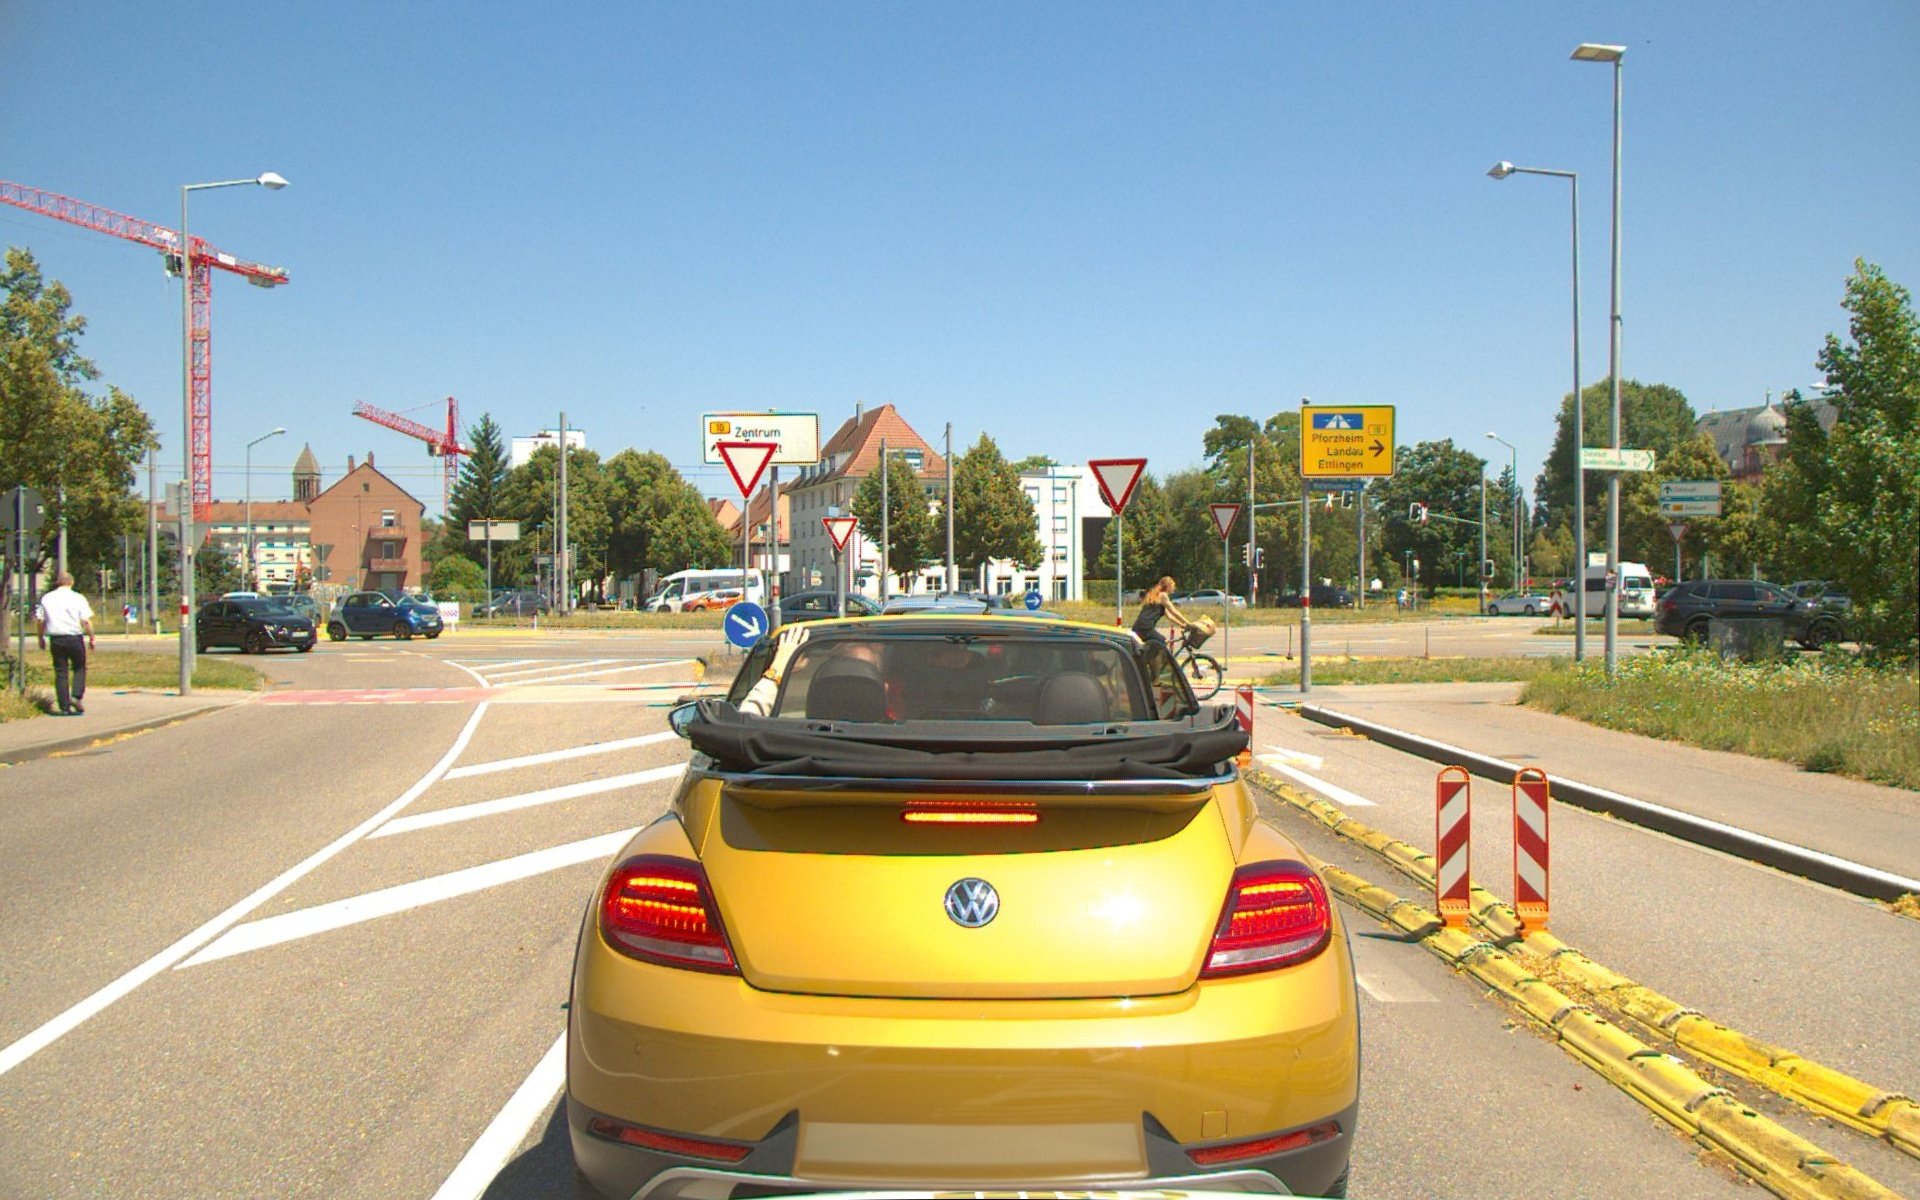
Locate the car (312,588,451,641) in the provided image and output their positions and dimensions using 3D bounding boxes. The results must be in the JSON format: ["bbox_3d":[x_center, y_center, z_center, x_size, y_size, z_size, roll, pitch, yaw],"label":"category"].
[{"bbox_3d":[-18.257,0.453,52.204,3.904,1.579,1.728,1,0,19],"label":"car"}]

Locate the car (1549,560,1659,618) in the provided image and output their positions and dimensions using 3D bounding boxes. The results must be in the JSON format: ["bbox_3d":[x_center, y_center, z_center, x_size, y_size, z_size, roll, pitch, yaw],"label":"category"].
[{"bbox_3d":[28.493,-0.459,73.366,1.953,2.439,5.312,1,0,-12],"label":"car"}]

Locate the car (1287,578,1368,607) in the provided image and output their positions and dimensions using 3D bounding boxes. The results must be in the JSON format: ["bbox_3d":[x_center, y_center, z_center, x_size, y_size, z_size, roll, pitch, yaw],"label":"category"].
[{"bbox_3d":[21.562,-0.456,97.109,4.245,1.642,1.874,1,0,37],"label":"car"}]

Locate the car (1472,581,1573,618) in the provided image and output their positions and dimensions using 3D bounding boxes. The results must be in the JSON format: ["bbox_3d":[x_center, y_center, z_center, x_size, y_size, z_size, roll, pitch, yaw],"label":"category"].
[{"bbox_3d":[31.217,-0.049,91.958,1.969,1.996,5.268,1,0,-32],"label":"car"}]

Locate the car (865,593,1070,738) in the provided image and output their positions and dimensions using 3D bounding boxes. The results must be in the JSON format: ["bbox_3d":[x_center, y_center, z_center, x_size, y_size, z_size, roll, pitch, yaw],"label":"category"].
[{"bbox_3d":[0.044,0.661,18.583,2.023,1.406,4.257,1,0,-1],"label":"car"}]

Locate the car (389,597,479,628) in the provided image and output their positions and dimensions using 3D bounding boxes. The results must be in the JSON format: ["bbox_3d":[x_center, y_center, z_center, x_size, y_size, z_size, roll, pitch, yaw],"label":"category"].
[{"bbox_3d":[-25.433,0.629,80.093,1.693,1.427,4.267,1,0,26],"label":"car"}]

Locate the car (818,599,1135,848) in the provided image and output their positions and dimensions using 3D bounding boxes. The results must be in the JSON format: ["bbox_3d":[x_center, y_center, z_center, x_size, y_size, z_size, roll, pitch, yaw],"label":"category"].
[{"bbox_3d":[0.066,0.710,11.675,1.814,1.389,4.257,-1,0,-1],"label":"car"}]

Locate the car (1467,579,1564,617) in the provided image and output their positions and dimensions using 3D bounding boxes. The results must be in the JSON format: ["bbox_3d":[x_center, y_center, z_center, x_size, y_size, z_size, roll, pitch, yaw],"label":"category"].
[{"bbox_3d":[30.958,-0.113,92.272,1.964,1.996,5.282,1,0,-27],"label":"car"}]

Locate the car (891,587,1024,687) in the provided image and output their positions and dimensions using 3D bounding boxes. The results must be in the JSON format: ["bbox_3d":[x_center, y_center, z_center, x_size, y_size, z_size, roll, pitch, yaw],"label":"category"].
[{"bbox_3d":[-0.067,0.553,27.627,2.023,1.506,4.542,-1,0,-1],"label":"car"}]

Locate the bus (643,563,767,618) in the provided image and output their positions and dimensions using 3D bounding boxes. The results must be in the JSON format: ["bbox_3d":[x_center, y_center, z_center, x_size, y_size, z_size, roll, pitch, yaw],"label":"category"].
[{"bbox_3d":[-15.503,-0.552,100.708,7.158,3.228,2.244,1,-1,-25],"label":"bus"}]

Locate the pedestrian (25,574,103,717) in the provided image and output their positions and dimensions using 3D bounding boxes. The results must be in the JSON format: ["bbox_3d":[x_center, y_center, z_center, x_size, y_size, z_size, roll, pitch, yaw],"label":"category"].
[{"bbox_3d":[-11.678,0.587,21.586,0.625,1.817,0.966,1,-1,-14],"label":"pedestrian"}]

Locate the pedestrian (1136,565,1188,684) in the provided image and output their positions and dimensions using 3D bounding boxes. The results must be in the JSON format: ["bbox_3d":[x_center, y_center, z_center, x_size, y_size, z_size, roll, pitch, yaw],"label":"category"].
[{"bbox_3d":[2.979,0.360,24.365,0.717,1.721,0.575,1,-1,9],"label":"pedestrian"}]

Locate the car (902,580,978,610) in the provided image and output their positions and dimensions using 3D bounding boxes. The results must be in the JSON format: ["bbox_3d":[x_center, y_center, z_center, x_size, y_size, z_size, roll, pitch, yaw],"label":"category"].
[{"bbox_3d":[-1.177,-0.315,100.659,4.335,1.766,1.850,1,0,10],"label":"car"}]

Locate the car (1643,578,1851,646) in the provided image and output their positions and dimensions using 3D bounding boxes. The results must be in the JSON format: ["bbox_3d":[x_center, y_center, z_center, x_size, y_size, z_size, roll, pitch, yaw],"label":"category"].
[{"bbox_3d":[19.445,0.288,41.070,4.311,1.623,2.002,-1,0,12],"label":"car"}]

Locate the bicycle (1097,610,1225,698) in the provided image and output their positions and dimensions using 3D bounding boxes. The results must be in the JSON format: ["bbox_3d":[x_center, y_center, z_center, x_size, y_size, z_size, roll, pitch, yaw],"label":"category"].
[{"bbox_3d":[2.966,0.792,24.376,1.803,1.253,0.614,-2,-1,10],"label":"bicycle"}]

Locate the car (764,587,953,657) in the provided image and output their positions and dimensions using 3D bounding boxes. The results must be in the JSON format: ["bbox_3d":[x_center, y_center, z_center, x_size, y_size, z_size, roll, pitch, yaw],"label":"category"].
[{"bbox_3d":[-2.435,0.513,40.038,4.237,1.579,1.729,1,0,13],"label":"car"}]

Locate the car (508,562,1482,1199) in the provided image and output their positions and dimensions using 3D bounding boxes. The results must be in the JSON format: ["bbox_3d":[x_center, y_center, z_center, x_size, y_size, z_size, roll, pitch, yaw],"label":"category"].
[{"bbox_3d":[0.036,0.710,5.089,1.729,1.507,4.257,1,0,-1],"label":"car"}]

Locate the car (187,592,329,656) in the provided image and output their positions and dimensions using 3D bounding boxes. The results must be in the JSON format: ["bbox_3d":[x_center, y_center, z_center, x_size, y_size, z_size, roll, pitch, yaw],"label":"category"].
[{"bbox_3d":[-19.208,0.617,45.224,3.918,1.579,1.723,1,3,34],"label":"car"}]

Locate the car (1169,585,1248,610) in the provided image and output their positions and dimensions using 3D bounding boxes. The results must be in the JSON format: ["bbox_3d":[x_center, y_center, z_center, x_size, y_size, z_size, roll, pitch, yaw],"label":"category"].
[{"bbox_3d":[14.576,-0.130,97.196,4.242,1.395,1.746,1,0,34],"label":"car"}]

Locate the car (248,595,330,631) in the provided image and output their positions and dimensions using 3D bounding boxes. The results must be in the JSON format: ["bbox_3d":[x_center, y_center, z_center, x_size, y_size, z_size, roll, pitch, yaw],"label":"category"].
[{"bbox_3d":[-27.822,0.539,68.724,1.711,1.395,4.329,1,0,-2],"label":"car"}]

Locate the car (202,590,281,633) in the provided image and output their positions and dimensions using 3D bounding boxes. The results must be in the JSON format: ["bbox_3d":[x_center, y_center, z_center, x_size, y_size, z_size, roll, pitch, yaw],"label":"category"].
[{"bbox_3d":[-27.140,0.422,62.589,1.742,1.554,3.866,-1,0,-7],"label":"car"}]

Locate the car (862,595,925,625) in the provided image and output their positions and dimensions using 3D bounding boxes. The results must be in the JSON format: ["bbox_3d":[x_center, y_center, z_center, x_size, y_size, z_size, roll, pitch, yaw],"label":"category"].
[{"bbox_3d":[-4.216,0.623,104.635,3.910,1.803,1.784,1,0,-6],"label":"car"}]

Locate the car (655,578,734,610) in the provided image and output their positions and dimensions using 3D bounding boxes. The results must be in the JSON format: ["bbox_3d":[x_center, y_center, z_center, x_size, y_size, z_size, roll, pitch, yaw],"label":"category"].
[{"bbox_3d":[-15.573,-0.322,96.987,4.363,1.766,1.838,1,0,-20],"label":"car"}]
